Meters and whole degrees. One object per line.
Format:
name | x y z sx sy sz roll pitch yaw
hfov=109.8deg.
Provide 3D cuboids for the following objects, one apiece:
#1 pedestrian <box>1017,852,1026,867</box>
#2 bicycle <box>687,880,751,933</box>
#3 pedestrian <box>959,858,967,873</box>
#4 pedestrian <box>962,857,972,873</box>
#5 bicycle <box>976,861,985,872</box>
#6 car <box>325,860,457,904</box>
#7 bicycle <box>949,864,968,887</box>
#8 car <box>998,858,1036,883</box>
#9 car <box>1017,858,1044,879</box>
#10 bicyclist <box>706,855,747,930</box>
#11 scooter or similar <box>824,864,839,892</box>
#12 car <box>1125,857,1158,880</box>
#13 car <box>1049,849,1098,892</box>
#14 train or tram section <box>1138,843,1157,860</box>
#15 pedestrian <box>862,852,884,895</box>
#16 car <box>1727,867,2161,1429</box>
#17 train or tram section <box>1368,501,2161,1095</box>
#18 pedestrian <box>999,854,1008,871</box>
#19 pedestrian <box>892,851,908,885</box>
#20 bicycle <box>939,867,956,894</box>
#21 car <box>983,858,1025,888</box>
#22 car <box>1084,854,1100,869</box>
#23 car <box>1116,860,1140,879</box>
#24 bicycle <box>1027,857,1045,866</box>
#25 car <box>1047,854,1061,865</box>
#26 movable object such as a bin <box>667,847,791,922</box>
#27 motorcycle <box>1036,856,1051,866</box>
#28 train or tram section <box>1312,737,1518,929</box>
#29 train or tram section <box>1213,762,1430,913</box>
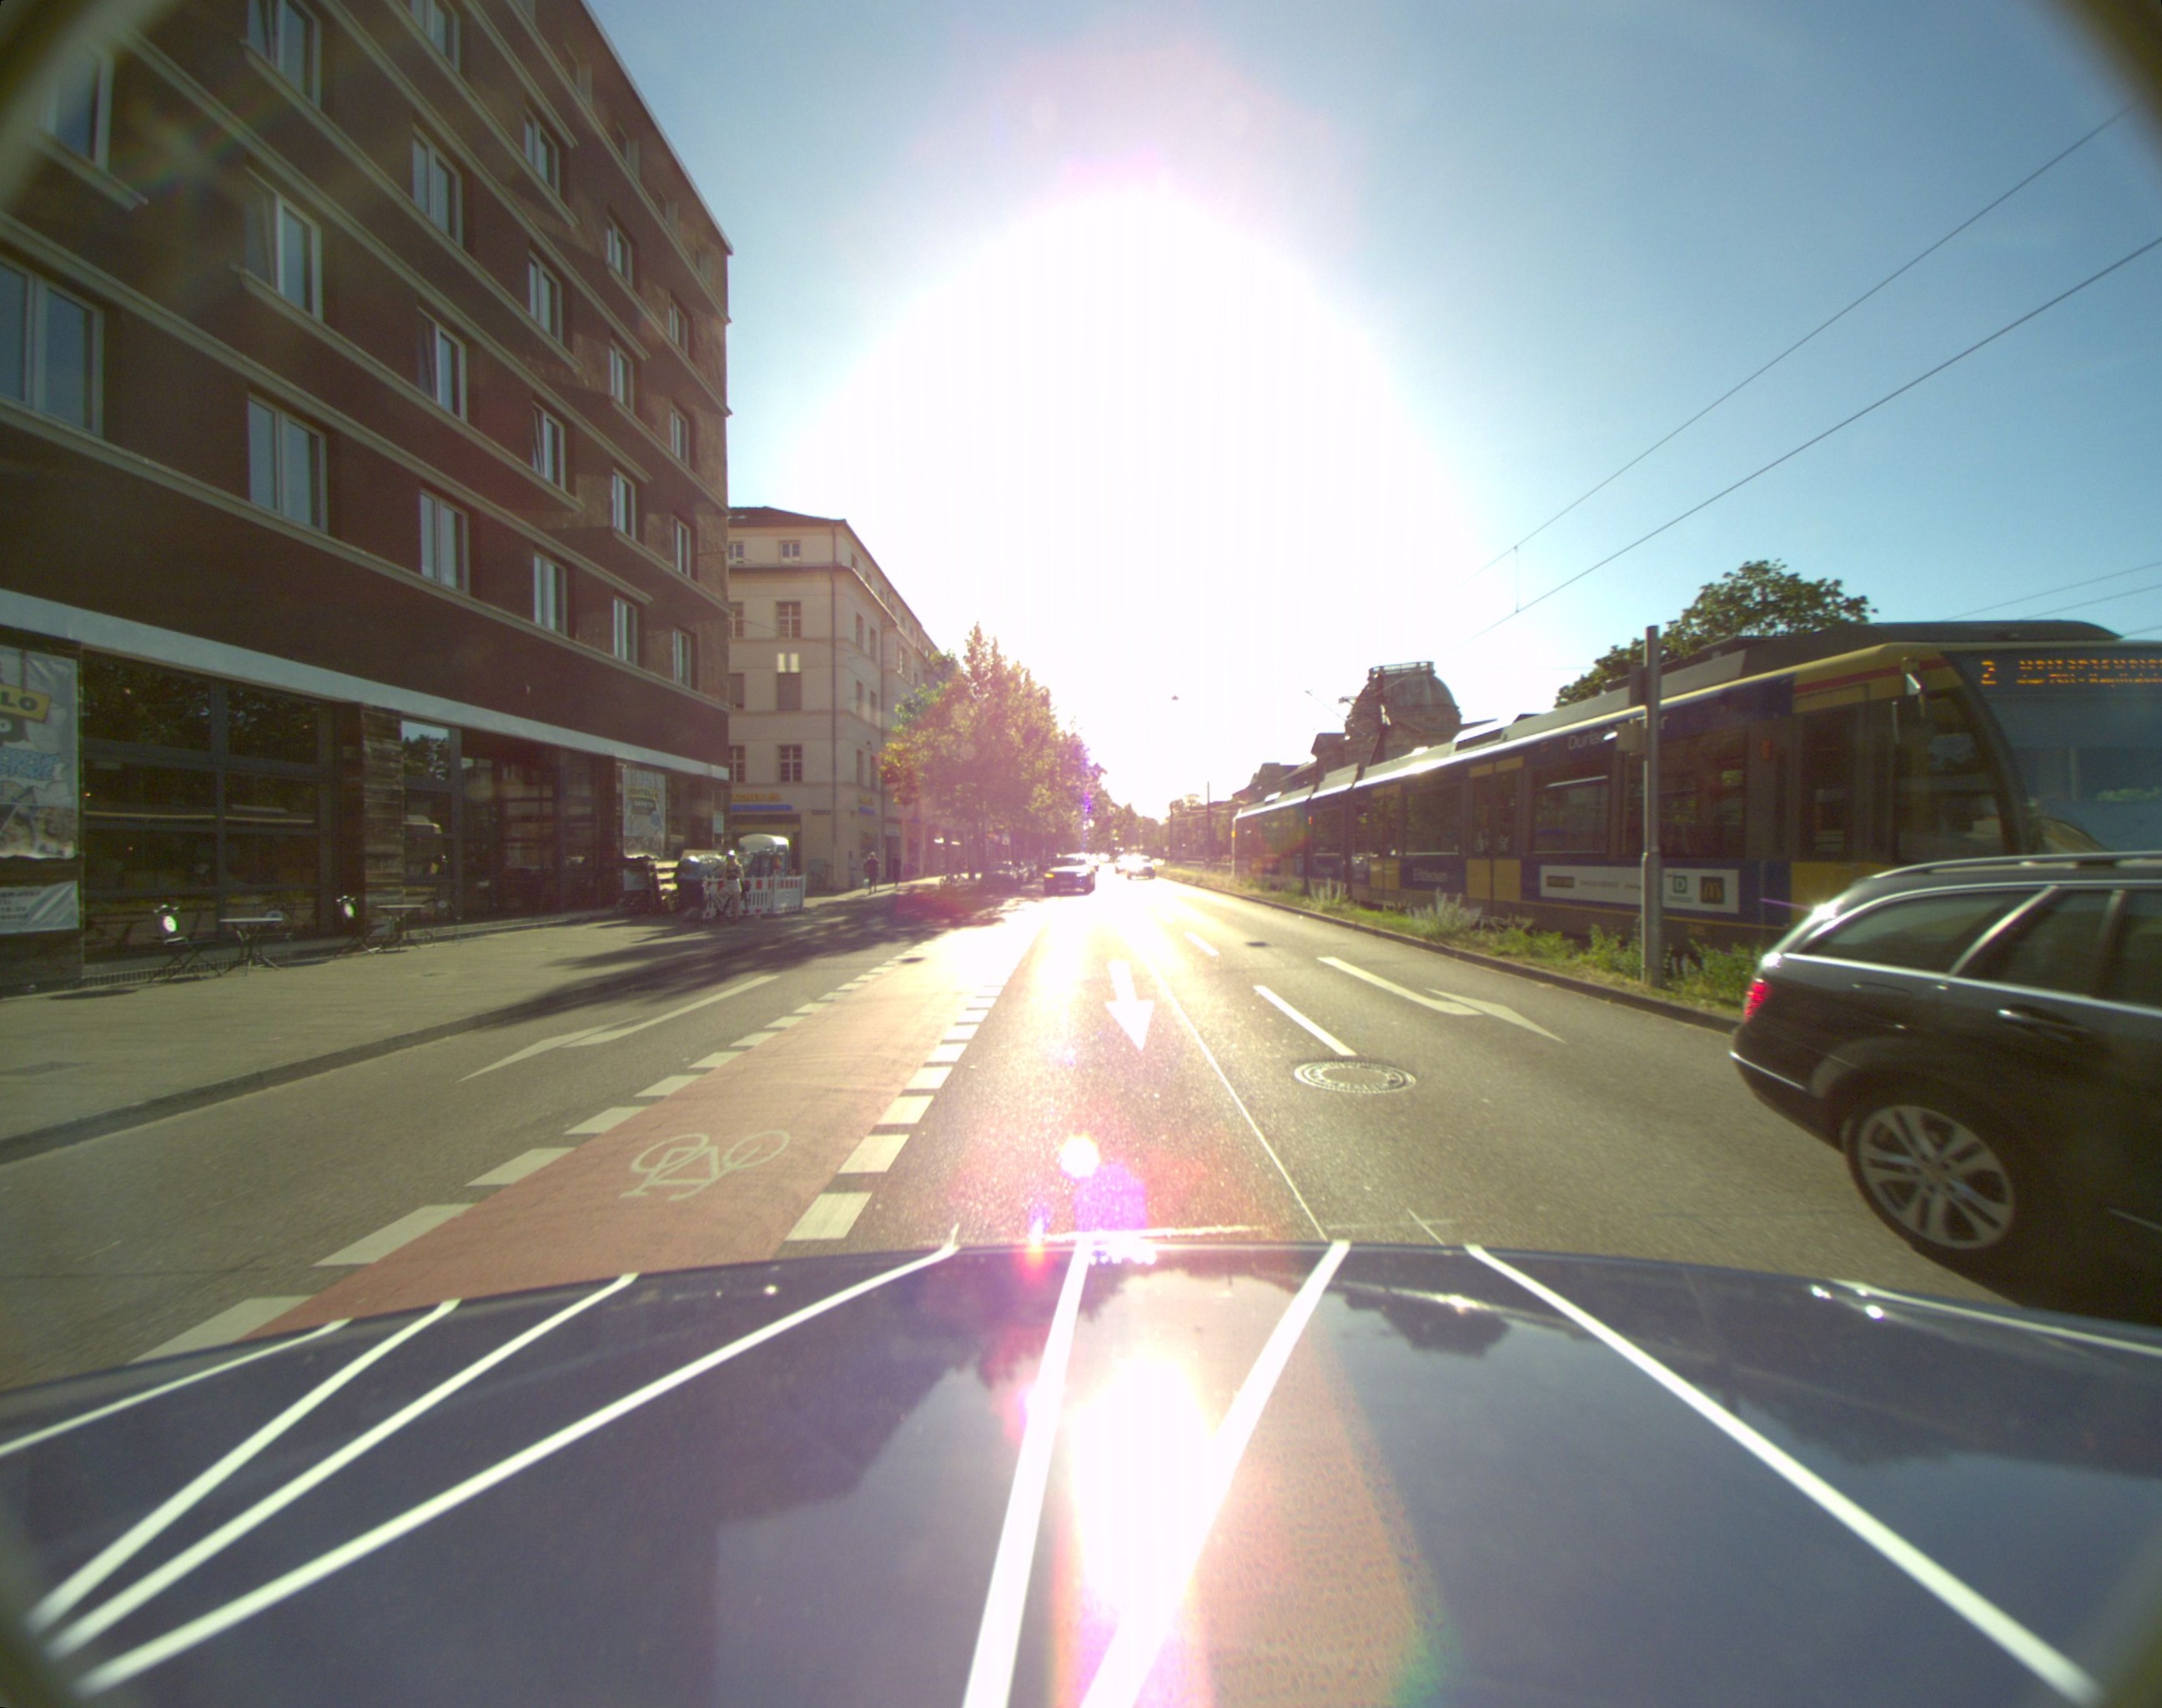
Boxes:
pedestrian | -8.352 0.763 106.907 1.090 2.002 1.046 -2 1 1
bicycle | -8.224 1.166 17.338 0.318 1.079 1.686 0 0 13
pedestrian | -9.972 0.964 64.368 0.536 1.325 0.820 0 1 1
pedestrian | -9.807 0.943 65.365 0.787 1.361 0.857 0 1 1
bicycle | -9.566 1.212 72.416 0.491 1.018 2.623 -1 0 0
car | -30.503 1.212 33.664 3.996 1.740 2.000 -2 0 2
bicycle | -6.199 1.086 38.518 0.488 1.129 1.691 -1 0 6
car | -4.145 1.069 49.911 2.043 1.500 4.594 -1 0 1
car | -3.774 1.067 57.501 1.699 1.493 3.801 2 0 0
bicyclist | -8.125 0.863 17.417 0.602 1.680 0.598 0 0 11
scooter or similar | -11.393 1.089 34.673 0.382 1.278 1.204 -3 1 -29
car | 3.939 0.931 50.103 1.778 1.439 3.868 -2 0 -1
car | -0.321 0.671 33.393 1.949 1.690 5.306 -1 0 0
train or tram section | 14.600 -0.536 167.359 2.969 3.463 11.285 -2 0 -2
pedestrian | -9.211 0.840 33.714 0.715 1.889 0.863 0 1 0
car | 3.815 0.814 1.205 1.731 1.461 4.409 -1 0 -2
train or tram section | 7.559 -0.419 10.419 2.960 3.874 10.801 -2 0 -1
pedestrian | -7.738 0.805 75.824 0.861 1.695 0.916 -1 1 -2
pedestrian | -9.064 0.701 38.009 0.559 1.701 0.770 -1 0 0
bicycle | -6.021 1.183 34.400 0.582 1.156 2.236 -3 0 -7
car | -4.231 1.003 42.170 1.794 1.546 4.435 -1 0 1
car | 1.121 0.728 76.874 1.554 1.520 3.718 -1 0 1
car | 4.022 1.329 65.747 1.798 1.420 4.000 -2 0 1
bicycle | -5.850 0.989 99.391 2.227 1.087 0.456 -2 1 2
car | -3.818 0.790 109.275 1.823 1.506 4.707 -2 0 -1
movable object such as a bin | -9.348 0.785 20.473 1.951 1.832 3.479 0 -1 -5
motorcycle | -4.874 0.930 98.477 1.954 1.224 0.515 -2 1 -3
train or tram section | 7.561 -0.446 17.765 2.962 3.874 3.865 -2 1 -1
train or tram section | 7.480 -0.446 26.825 2.936 3.790 14.271 -2 0 0
